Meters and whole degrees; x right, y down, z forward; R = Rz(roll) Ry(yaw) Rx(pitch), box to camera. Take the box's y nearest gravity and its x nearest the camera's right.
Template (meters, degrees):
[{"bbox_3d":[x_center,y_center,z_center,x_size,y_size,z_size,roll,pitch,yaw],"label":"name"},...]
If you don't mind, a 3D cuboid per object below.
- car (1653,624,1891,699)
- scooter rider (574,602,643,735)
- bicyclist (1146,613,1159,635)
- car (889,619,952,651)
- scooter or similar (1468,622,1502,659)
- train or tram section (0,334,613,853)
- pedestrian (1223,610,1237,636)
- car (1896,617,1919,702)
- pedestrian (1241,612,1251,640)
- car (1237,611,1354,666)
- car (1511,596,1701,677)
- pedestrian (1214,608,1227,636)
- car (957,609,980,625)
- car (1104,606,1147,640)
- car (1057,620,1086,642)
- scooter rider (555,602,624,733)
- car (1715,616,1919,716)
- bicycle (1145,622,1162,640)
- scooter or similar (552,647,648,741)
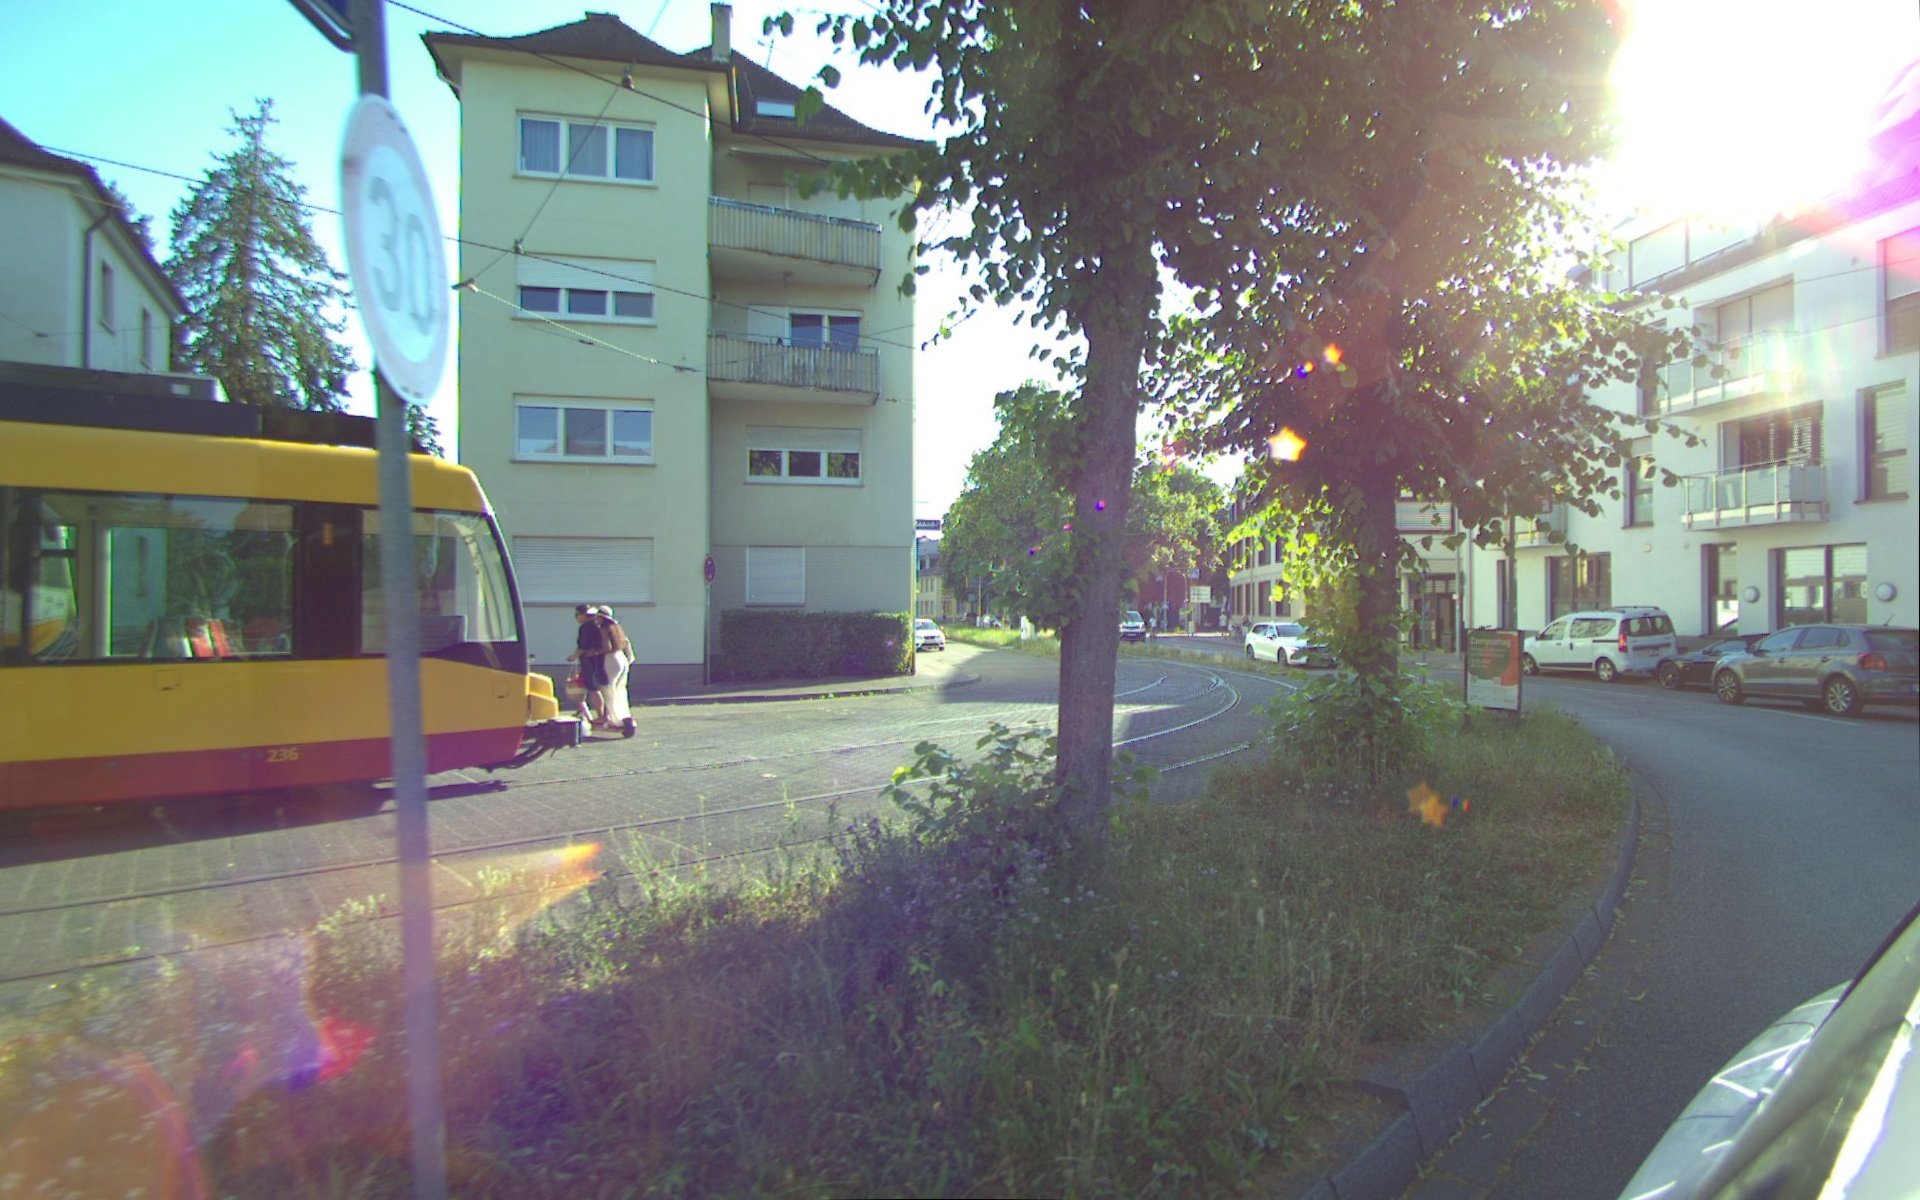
[{"bbox_3d":[17.032,1.227,21.517,1.637,1.289,4.028,-2,0,-3],"label":"car"},{"bbox_3d":[-4.644,0.877,13.368,0.606,1.694,0.644,-1,-2,44],"label":"scooter rider"},{"bbox_3d":[12.375,1.559,64.911,0.612,1.397,0.801,1,-1,-5],"label":"bicyclist"},{"bbox_3d":[-1.920,1.613,47.580,1.958,1.404,4.454,1,-1,-15],"label":"car"},{"bbox_3d":[17.943,1.372,34.612,0.220,1.236,1.157,-1,-2,-19],"label":"scooter or similar"},{"bbox_3d":[-8.018,-0.043,7.800,9.725,3.601,2.785,0,-1,-33],"label":"train or tram section"},{"bbox_3d":[18.471,1.565,69.159,0.691,1.736,0.842,-1,-1,2],"label":"pedestrian"},{"bbox_3d":[17.806,0.993,16.042,1.683,1.485,4.588,-2,-1,2],"label":"car"},{"bbox_3d":[16.947,1.531,60.006,0.468,1.669,0.600,-1,-2,11],"label":"pedestrian"},{"bbox_3d":[10.811,1.196,33.000,1.818,1.482,4.777,-3,1,-5],"label":"car"},{"bbox_3d":[16.949,0.891,26.856,1.780,1.893,4.338,-2,0,-8],"label":"car"},{"bbox_3d":[17.817,1.489,69.215,0.596,1.872,0.992,-1,-1,2],"label":"pedestrian"},{"bbox_3d":[0.998,1.986,121.219,1.958,1.816,4.007,-1,0,-11],"label":"car"},{"bbox_3d":[9.537,1.333,58.724,1.964,1.878,4.896,0,-1,3],"label":"car"},{"bbox_3d":[8.806,2.426,80.330,1.682,1.637,4.002,0,-1,-3],"label":"car"},{"bbox_3d":[-4.972,0.884,13.590,0.606,1.694,0.644,-1,-2,44],"label":"scooter rider"},{"bbox_3d":[14.385,1.001,16.372,1.687,1.421,3.733,2,-1,4],"label":"car"},{"bbox_3d":[12.375,1.960,64.856,0.612,1.095,1.785,1,0,-5],"label":"bicycle"},{"bbox_3d":[-4.842,1.225,13.586,1.402,1.151,0.674,-1,-2,45],"label":"scooter or similar"}]
